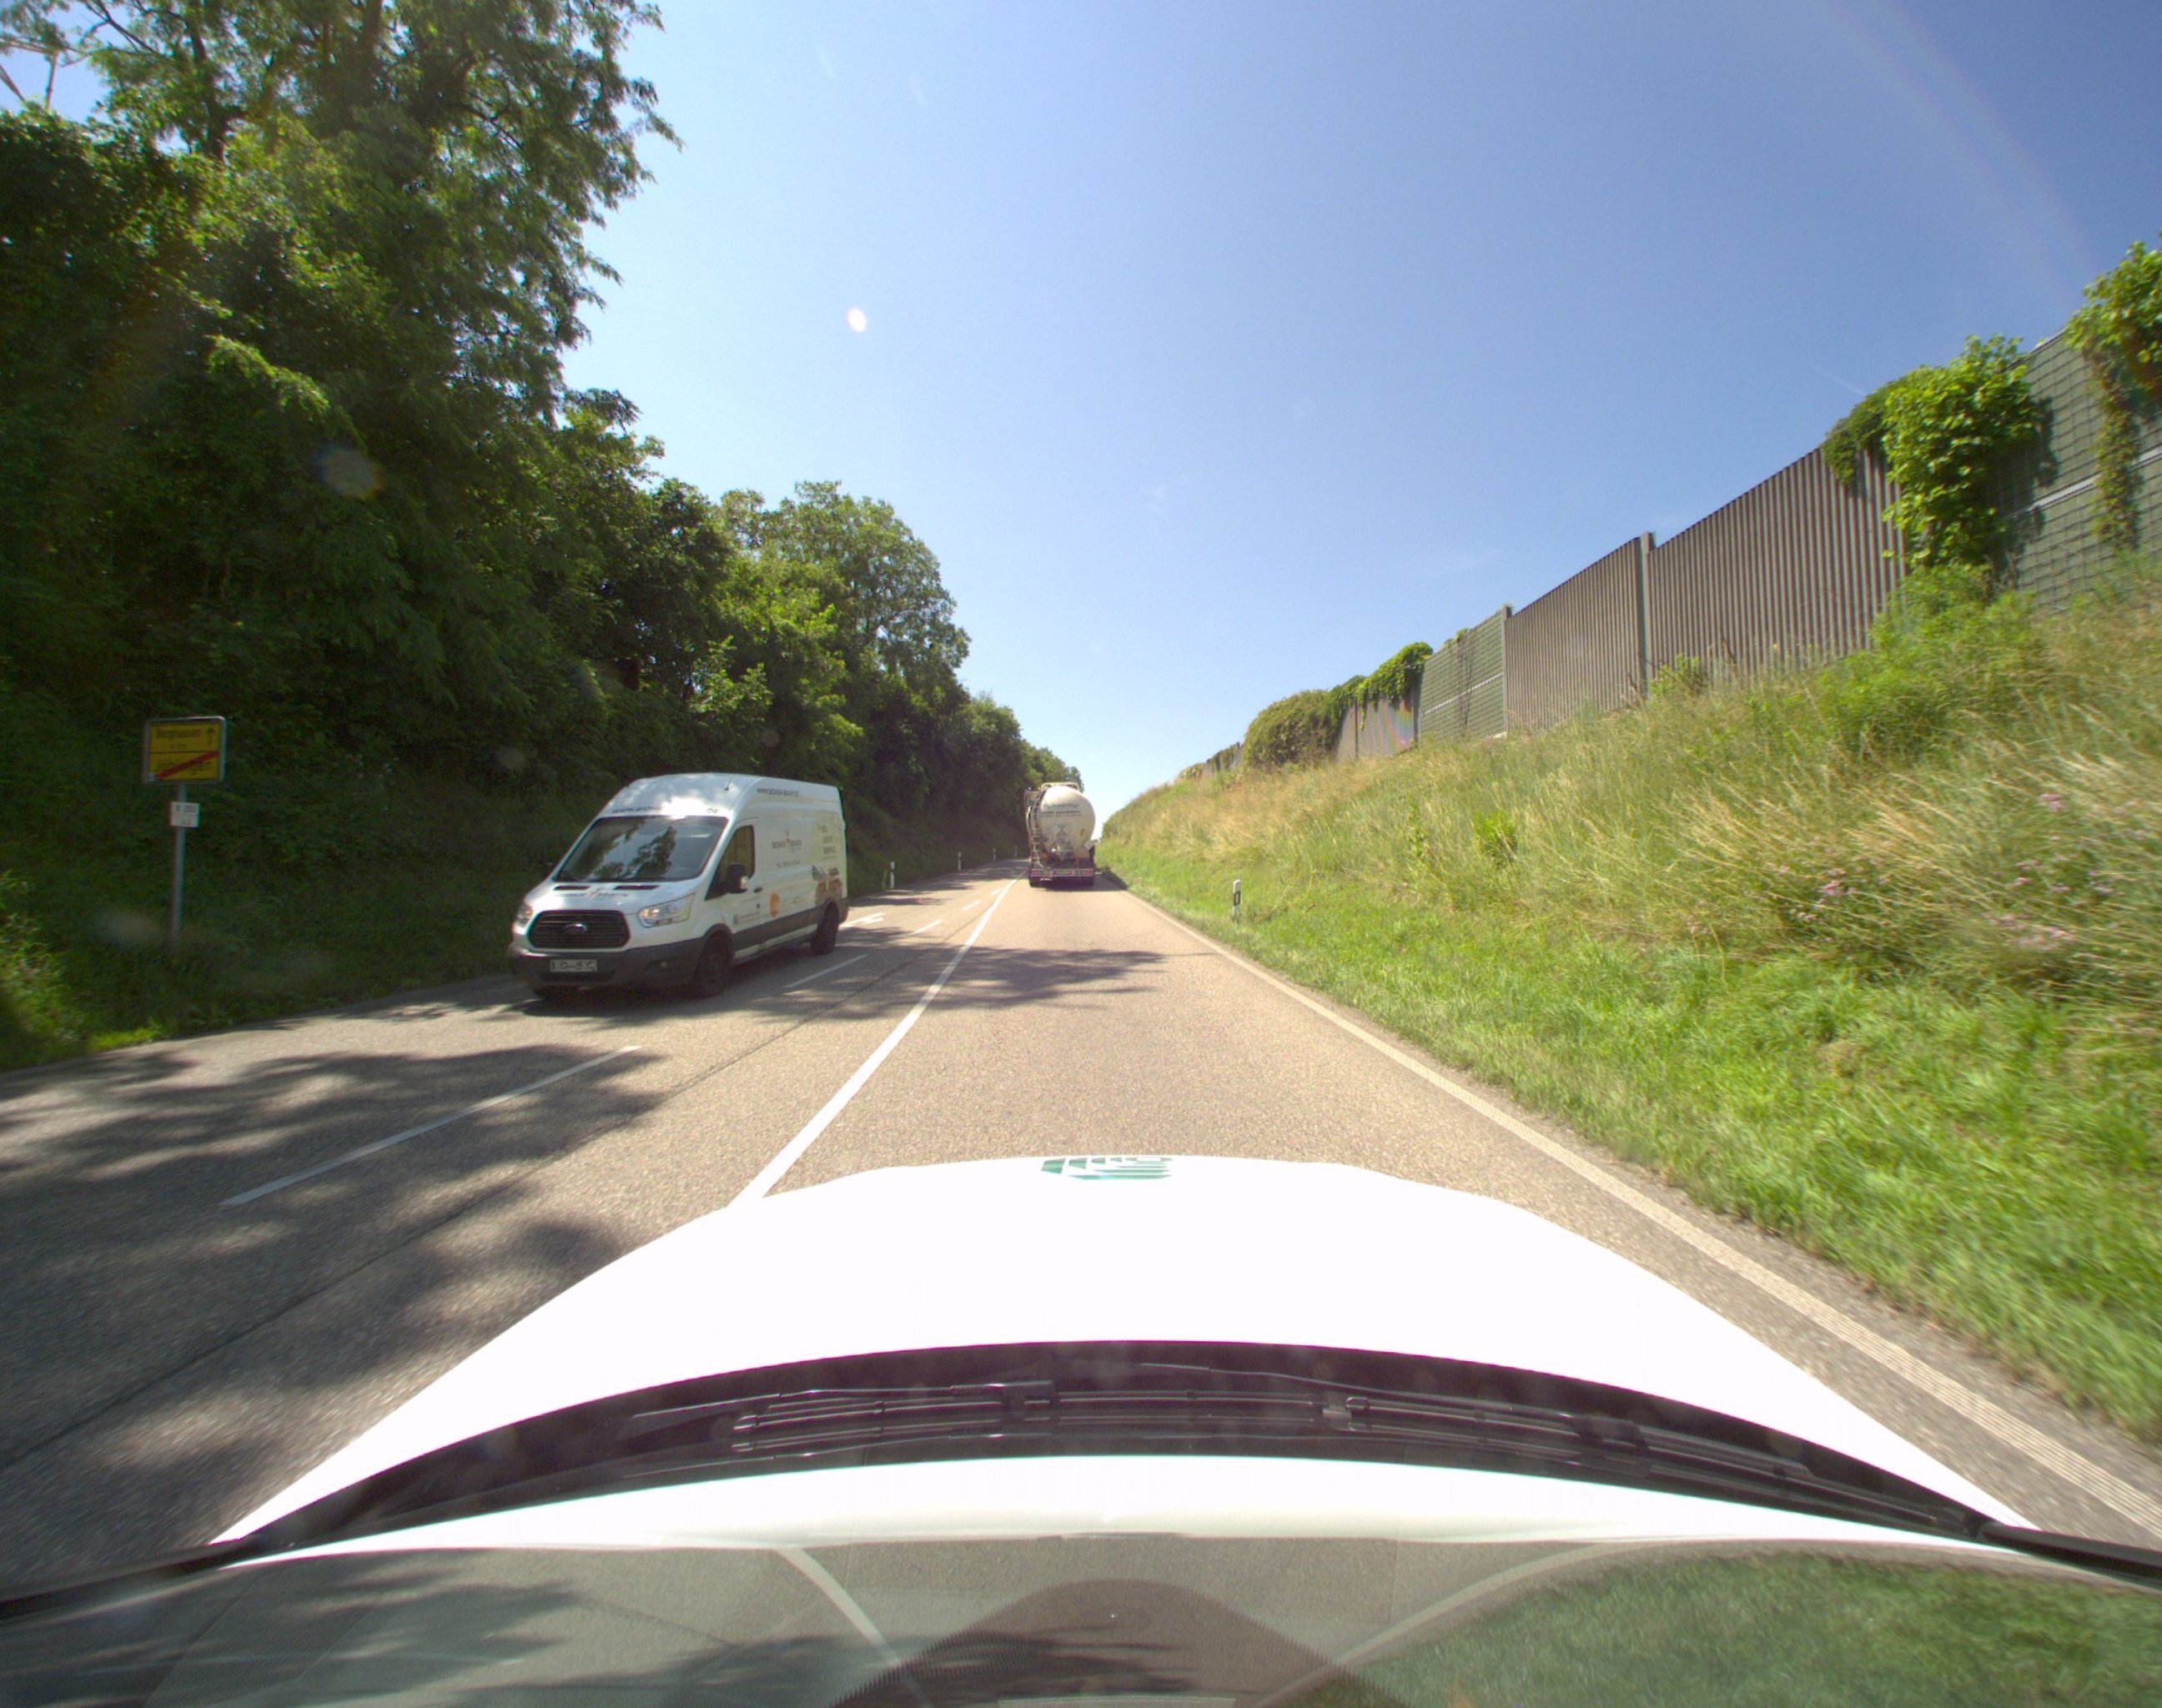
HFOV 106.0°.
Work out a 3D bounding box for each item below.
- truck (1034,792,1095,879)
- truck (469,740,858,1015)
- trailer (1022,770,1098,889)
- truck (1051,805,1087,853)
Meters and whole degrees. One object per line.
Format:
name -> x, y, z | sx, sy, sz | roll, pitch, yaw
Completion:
truck -> -0.702, -0.908, 40.821 | 2.717, 3.929, 7.265 | -1, 1, 1
truck -> -4.979, 0.224, 11.101 | 2.045, 2.687, 5.983 | -1, 0, 1
trailer -> -0.763, -0.962, 34.817 | 2.653, 4.188, 11.902 | -1, 1, 0
truck -> -1.082, -2.448, 81.787 | 3.180, 4.309, 11.801 | 3, 1, 0
